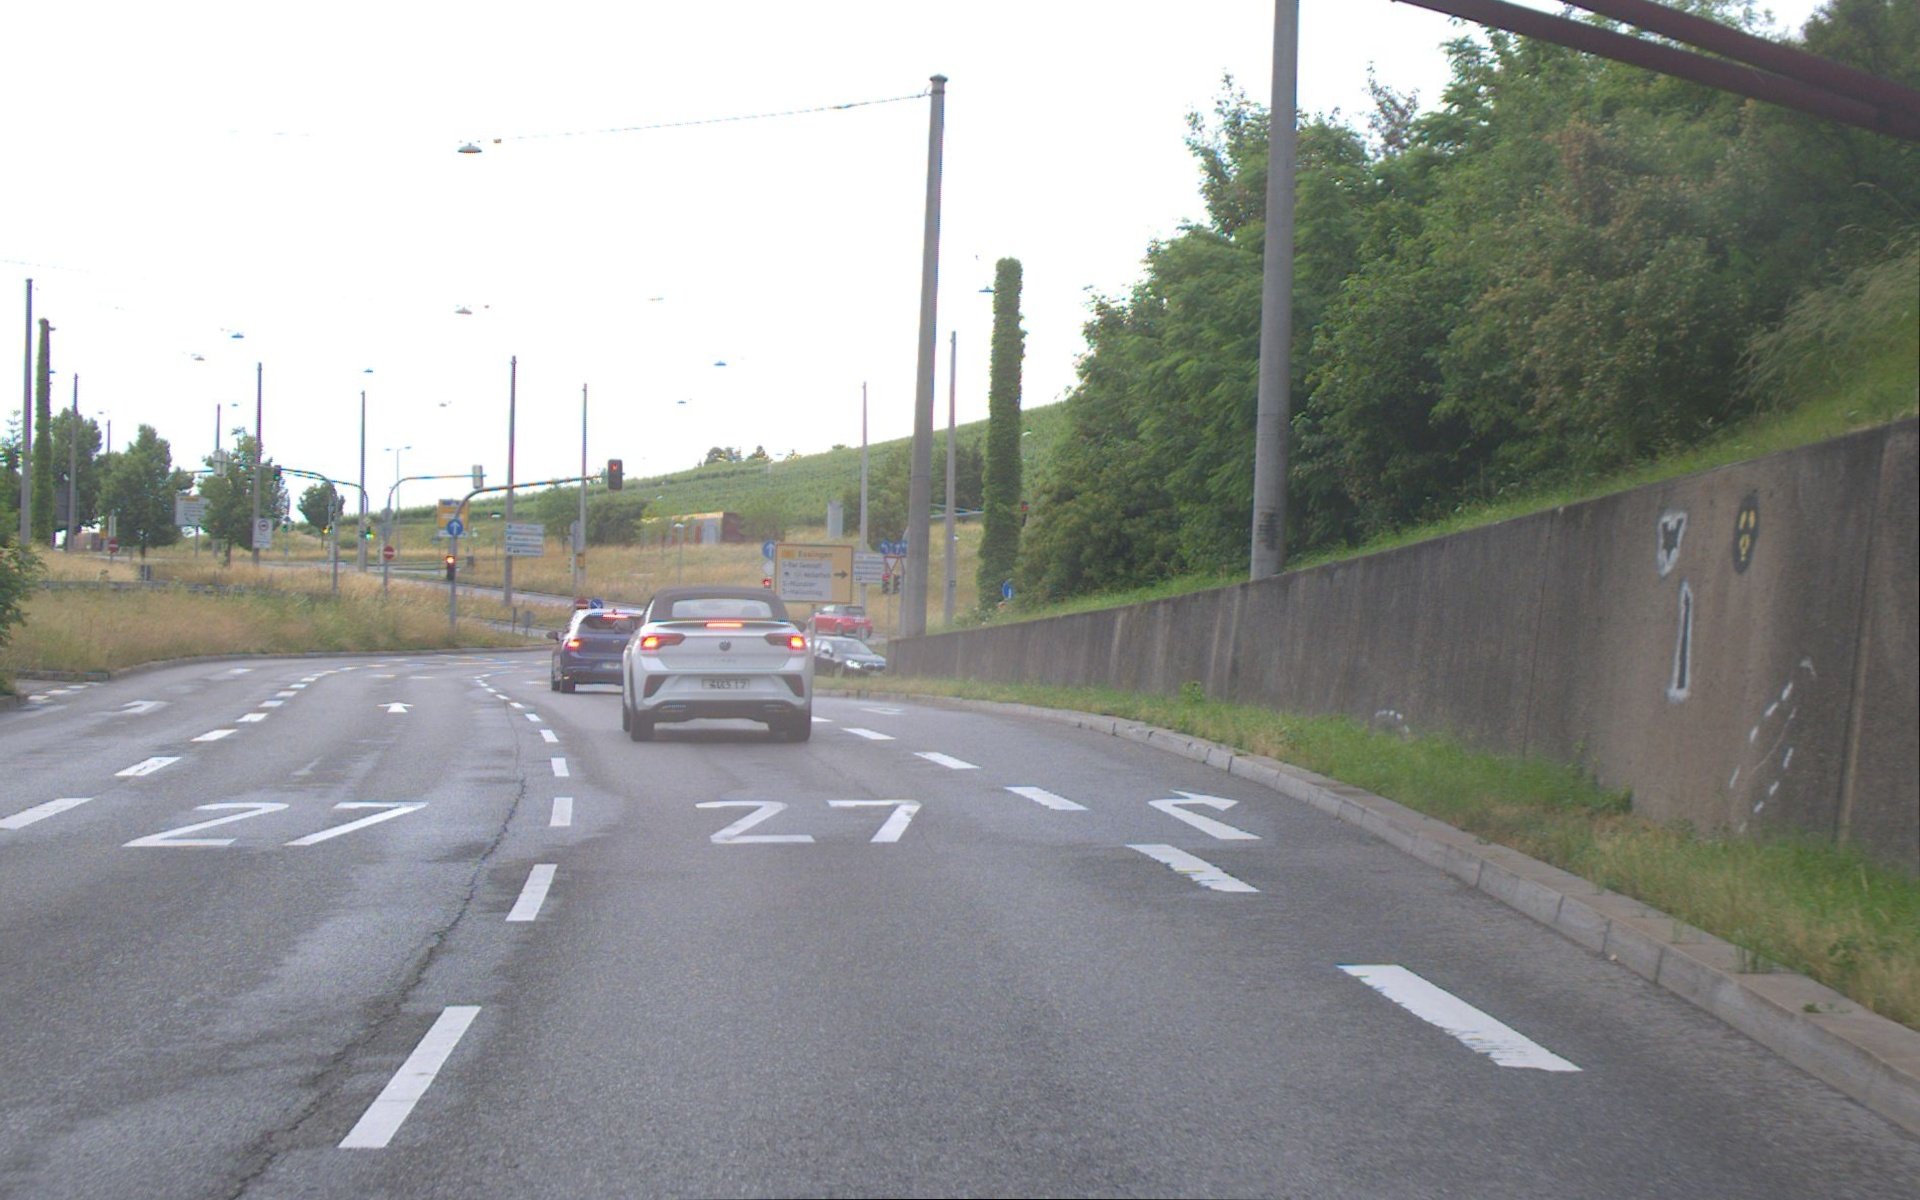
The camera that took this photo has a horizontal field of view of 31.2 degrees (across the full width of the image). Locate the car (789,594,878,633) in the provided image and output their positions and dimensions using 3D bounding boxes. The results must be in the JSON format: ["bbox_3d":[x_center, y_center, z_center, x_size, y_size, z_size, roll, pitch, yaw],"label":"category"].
[{"bbox_3d":[-5.841,0.616,157.920,1.994,1.706,4.563,0,1,-33],"label":"car"}]

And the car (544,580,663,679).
[{"bbox_3d":[-6.151,0.541,59.567,1.926,1.594,4.062,2,-1,-5],"label":"car"}]

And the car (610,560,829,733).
[{"bbox_3d":[-2.510,0.479,34.997,1.995,1.573,4.126,3,-1,-6],"label":"car"}]
